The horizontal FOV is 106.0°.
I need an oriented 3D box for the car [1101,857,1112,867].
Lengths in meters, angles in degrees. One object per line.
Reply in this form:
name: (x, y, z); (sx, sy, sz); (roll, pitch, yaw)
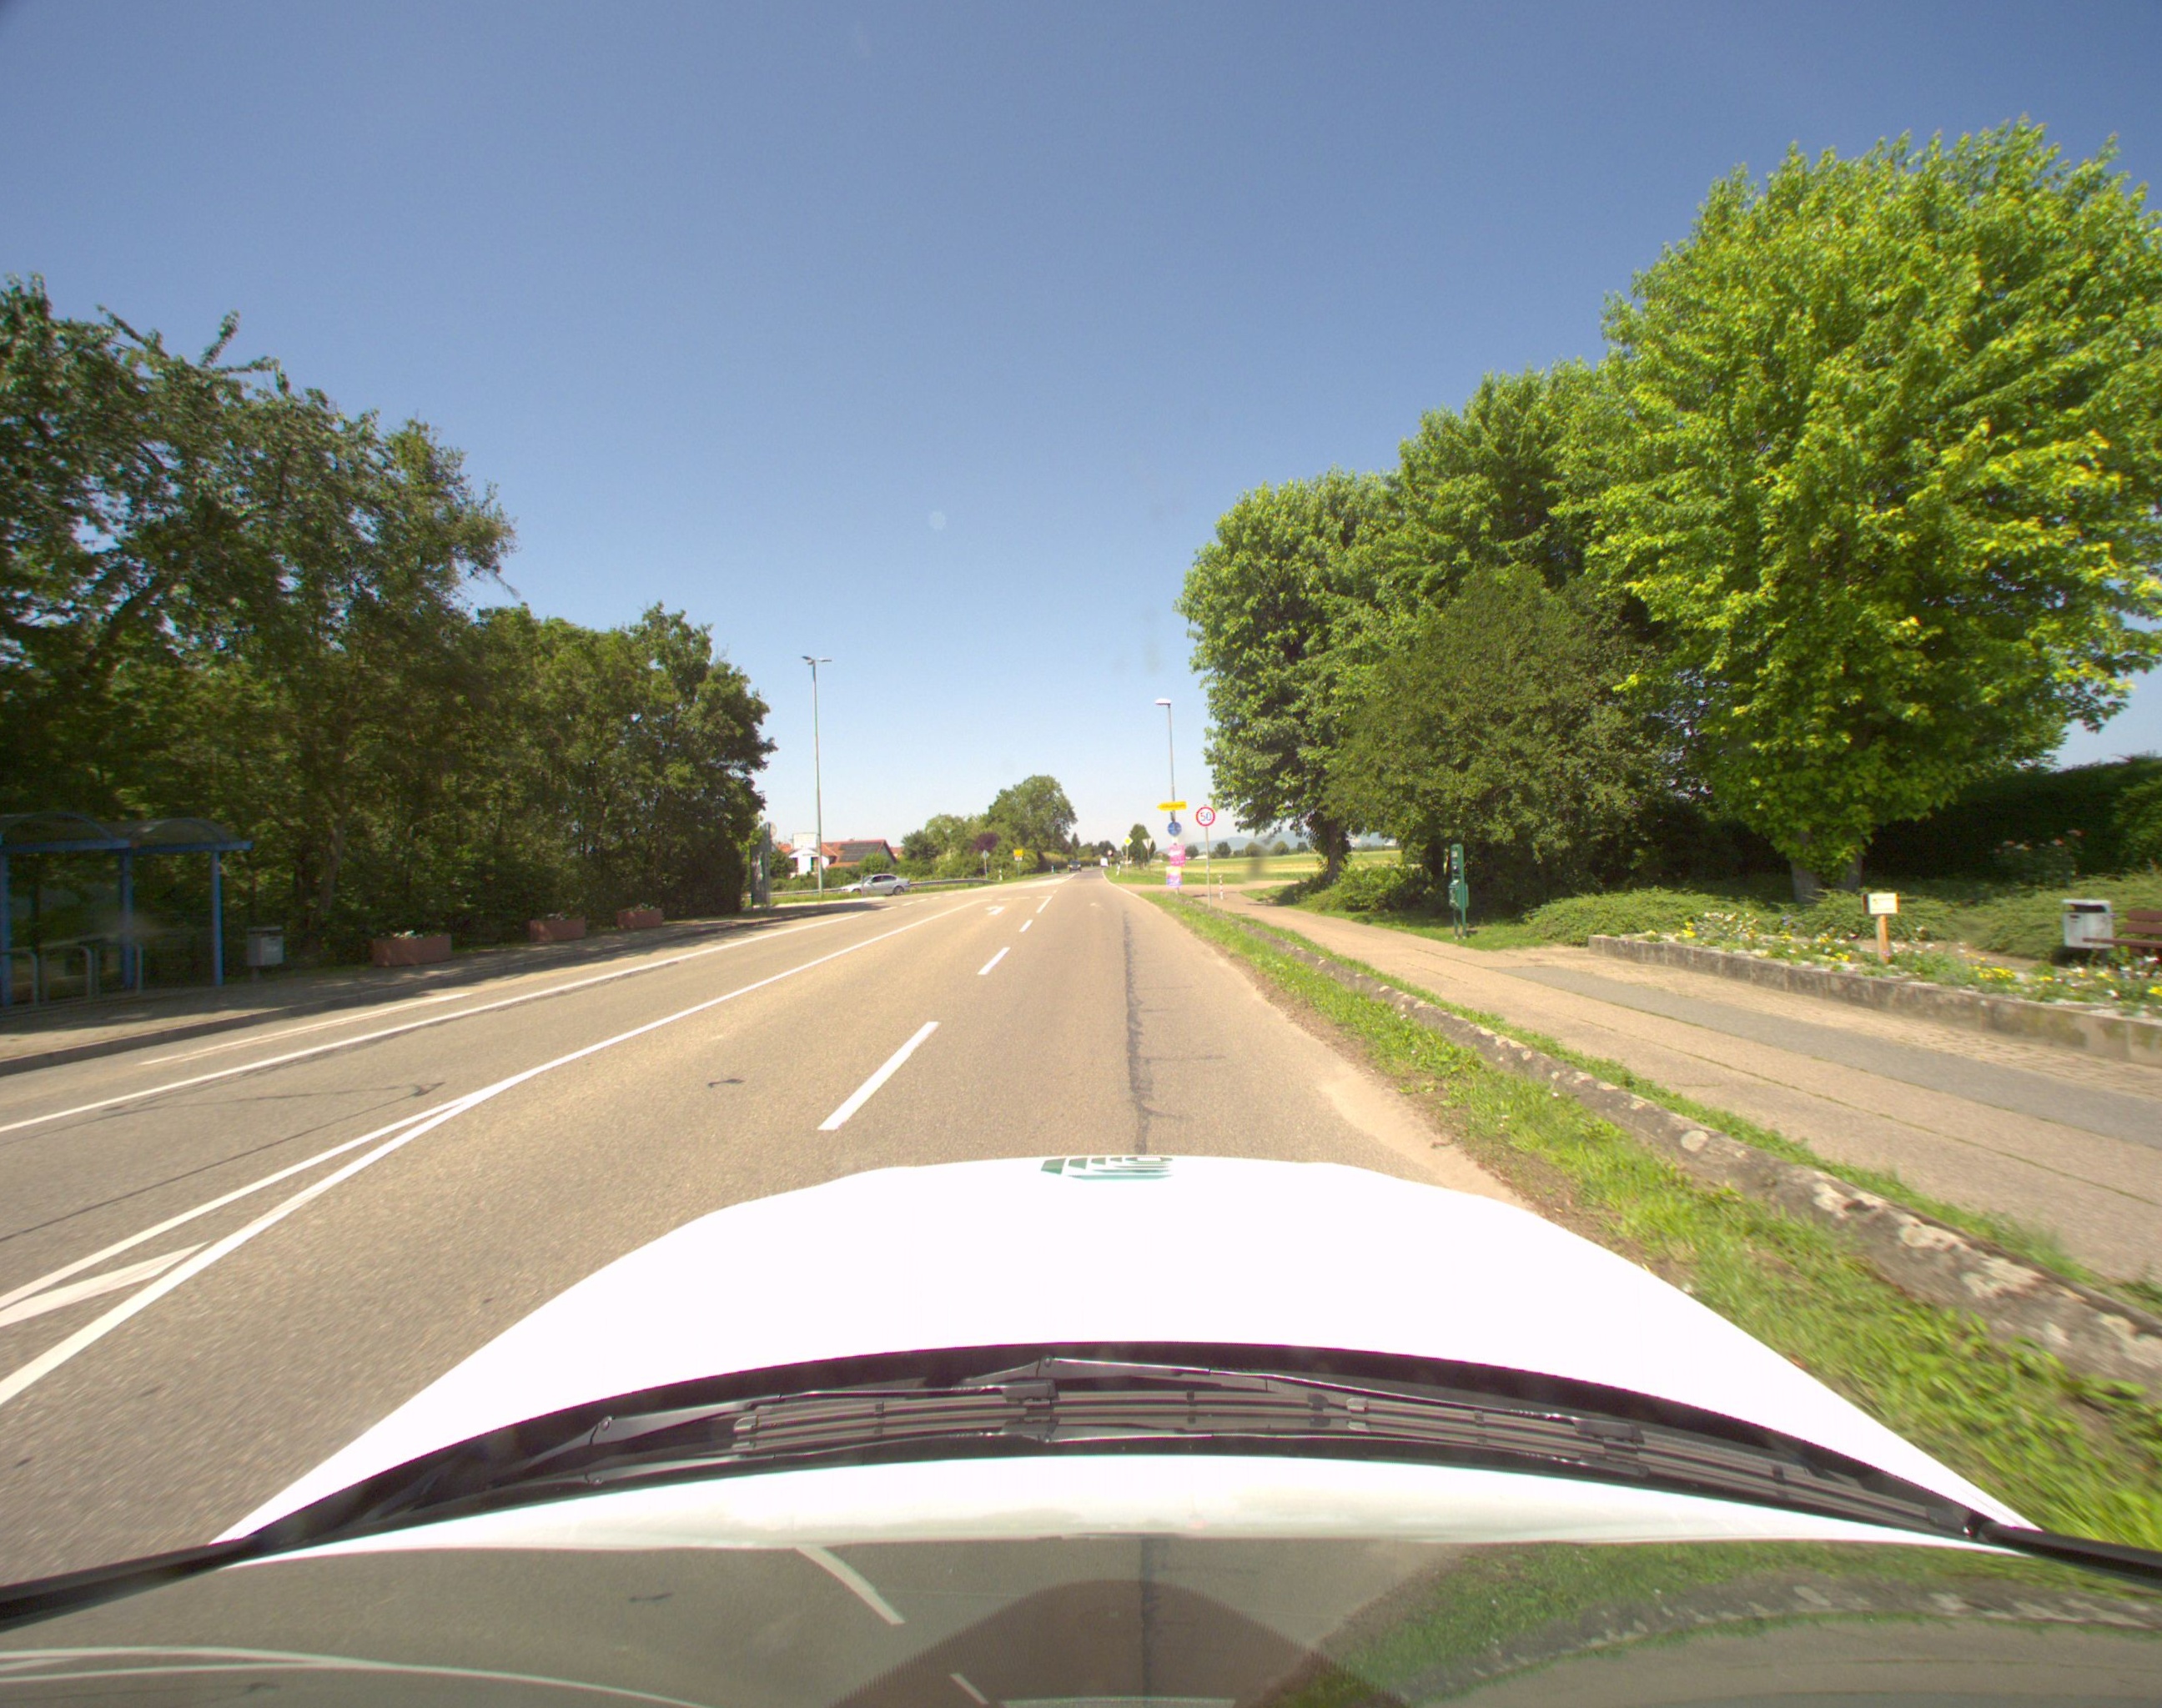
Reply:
car: (7.533, 2.313, 239.384); (1.979, 2.651, 4.017); (-3, 0, 15)

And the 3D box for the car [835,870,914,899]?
car: (-12.822, 1.870, 50.574); (4.430, 1.471, 1.625); (-3, 0, -31)

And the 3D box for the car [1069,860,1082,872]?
car: (-0.917, 2.114, 141.794); (2.138, 1.951, 5.246); (-3, 0, 0)
